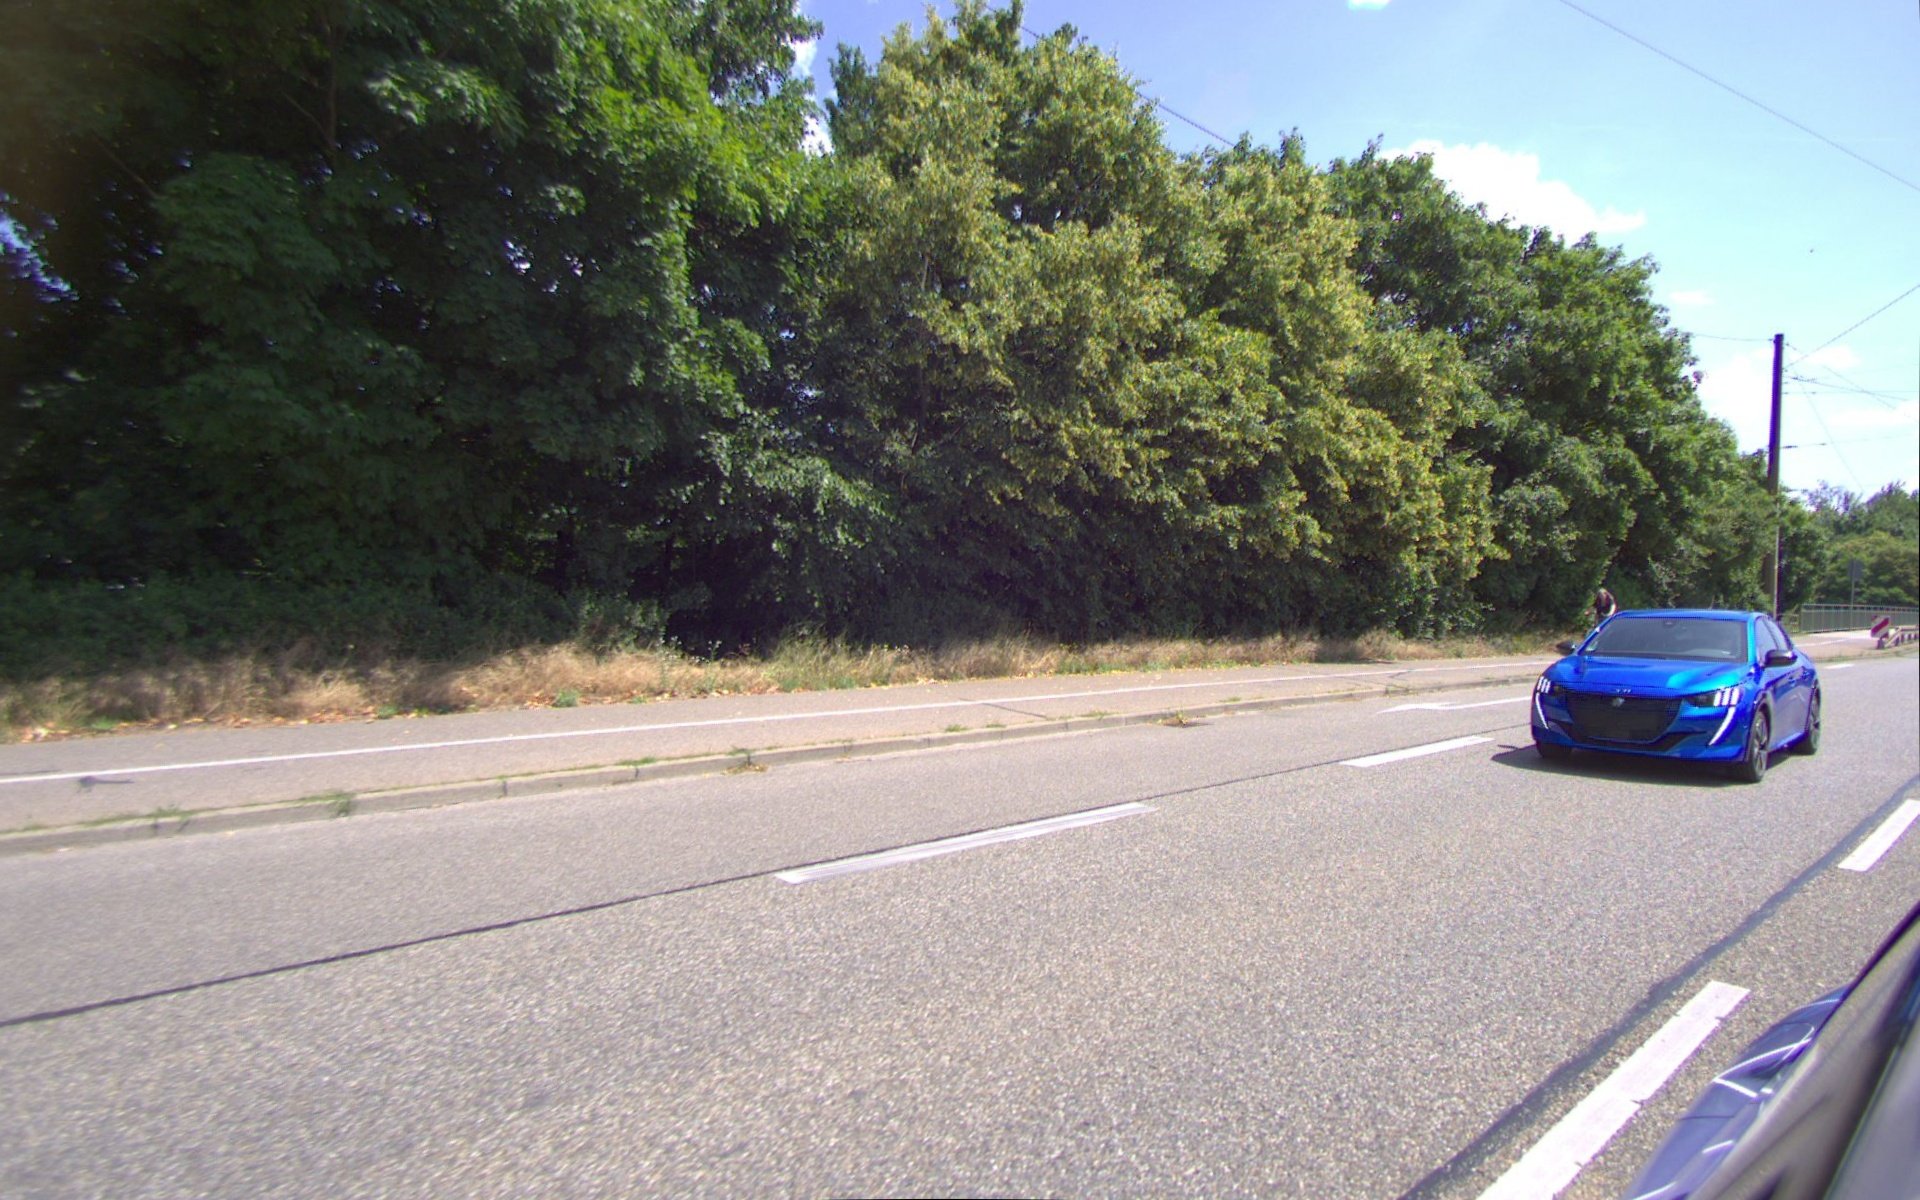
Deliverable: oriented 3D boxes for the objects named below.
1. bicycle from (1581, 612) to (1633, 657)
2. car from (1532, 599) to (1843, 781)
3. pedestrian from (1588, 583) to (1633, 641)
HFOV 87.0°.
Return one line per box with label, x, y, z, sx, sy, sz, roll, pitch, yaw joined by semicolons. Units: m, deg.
bicycle;15.890;0.835;24.838;1.815;1.037;0.561;0;2;-41
car;7.168;0.716;9.849;3.678;1.423;1.658;0;0;-41
pedestrian;16.006;0.286;24.897;1.032;1.391;0.629;0;1;-40
